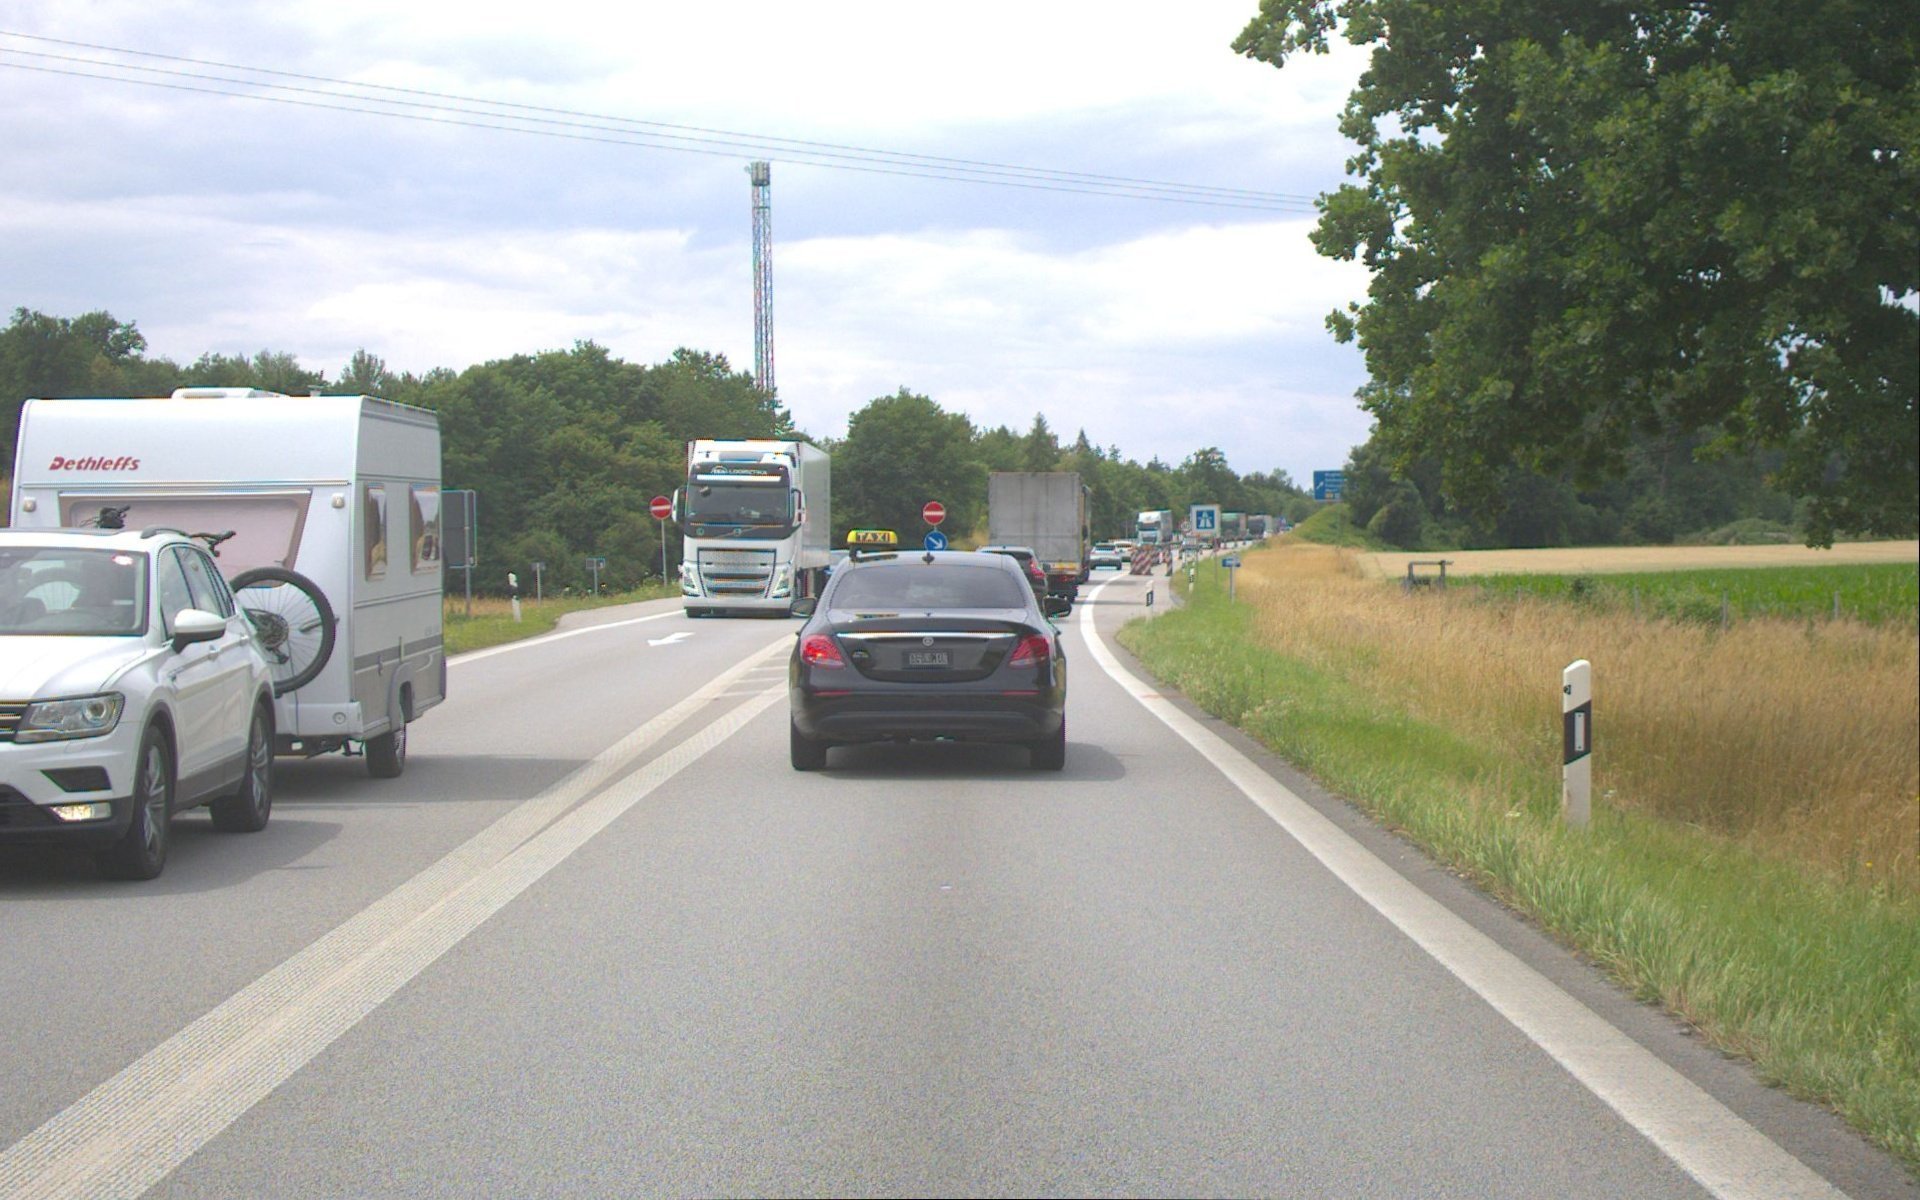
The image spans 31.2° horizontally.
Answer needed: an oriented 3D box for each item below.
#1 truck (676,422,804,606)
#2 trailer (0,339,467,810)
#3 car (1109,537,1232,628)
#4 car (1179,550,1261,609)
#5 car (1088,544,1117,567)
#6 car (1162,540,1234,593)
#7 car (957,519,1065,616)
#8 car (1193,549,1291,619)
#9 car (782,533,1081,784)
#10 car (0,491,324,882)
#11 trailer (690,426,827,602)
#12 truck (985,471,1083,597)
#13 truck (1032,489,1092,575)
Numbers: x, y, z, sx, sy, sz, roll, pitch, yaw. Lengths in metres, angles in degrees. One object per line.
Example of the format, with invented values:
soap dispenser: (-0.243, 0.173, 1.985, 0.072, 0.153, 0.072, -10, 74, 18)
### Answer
truck: (-4.908, -1.930, 77.495, 2.489, 3.982, 5.205, 0, 1, 0)
trailer: (-4.689, -0.172, 22.067, 2.182, 2.566, 6.244, 1, 0, -1)
car: (3.957, -0.340, 65.211, 1.795, 1.657, 4.001, 1, 0, -4)
car: (7.491, -0.597, 99.425, 1.795, 1.657, 4.001, 1, 0, -4)
car: (8.753, -2.730, 211.173, 1.649, 1.391, 3.706, 1, 1, 1)
car: (7.806, -1.100, 112.873, 1.795, 1.657, 4.001, 1, 0, -4)
car: (1.070, -0.709, 74.321, 1.993, 2.007, 4.001, 1, 0, -4)
car: (6.881, -0.402, 84.316, 1.795, 1.657, 4.001, 1, 0, -4)
car: (-0.281, 0.351, 23.636, 1.795, 1.554, 4.001, 1, 1, -4)
car: (-4.491, 0.336, 16.753, 2.006, 1.652, 4.327, 1, 1, -1)
trailer: (-4.816, -2.091, 84.323, 2.489, 3.982, 13.077, 0, 1, 0)
truck: (2.164, -1.878, 99.153, 2.587, 3.512, 4.812, 1, 0, 4)
truck: (4.206, -2.795, 142.529, 1.993, 3.513, 4.593, 1, 0, -4)
